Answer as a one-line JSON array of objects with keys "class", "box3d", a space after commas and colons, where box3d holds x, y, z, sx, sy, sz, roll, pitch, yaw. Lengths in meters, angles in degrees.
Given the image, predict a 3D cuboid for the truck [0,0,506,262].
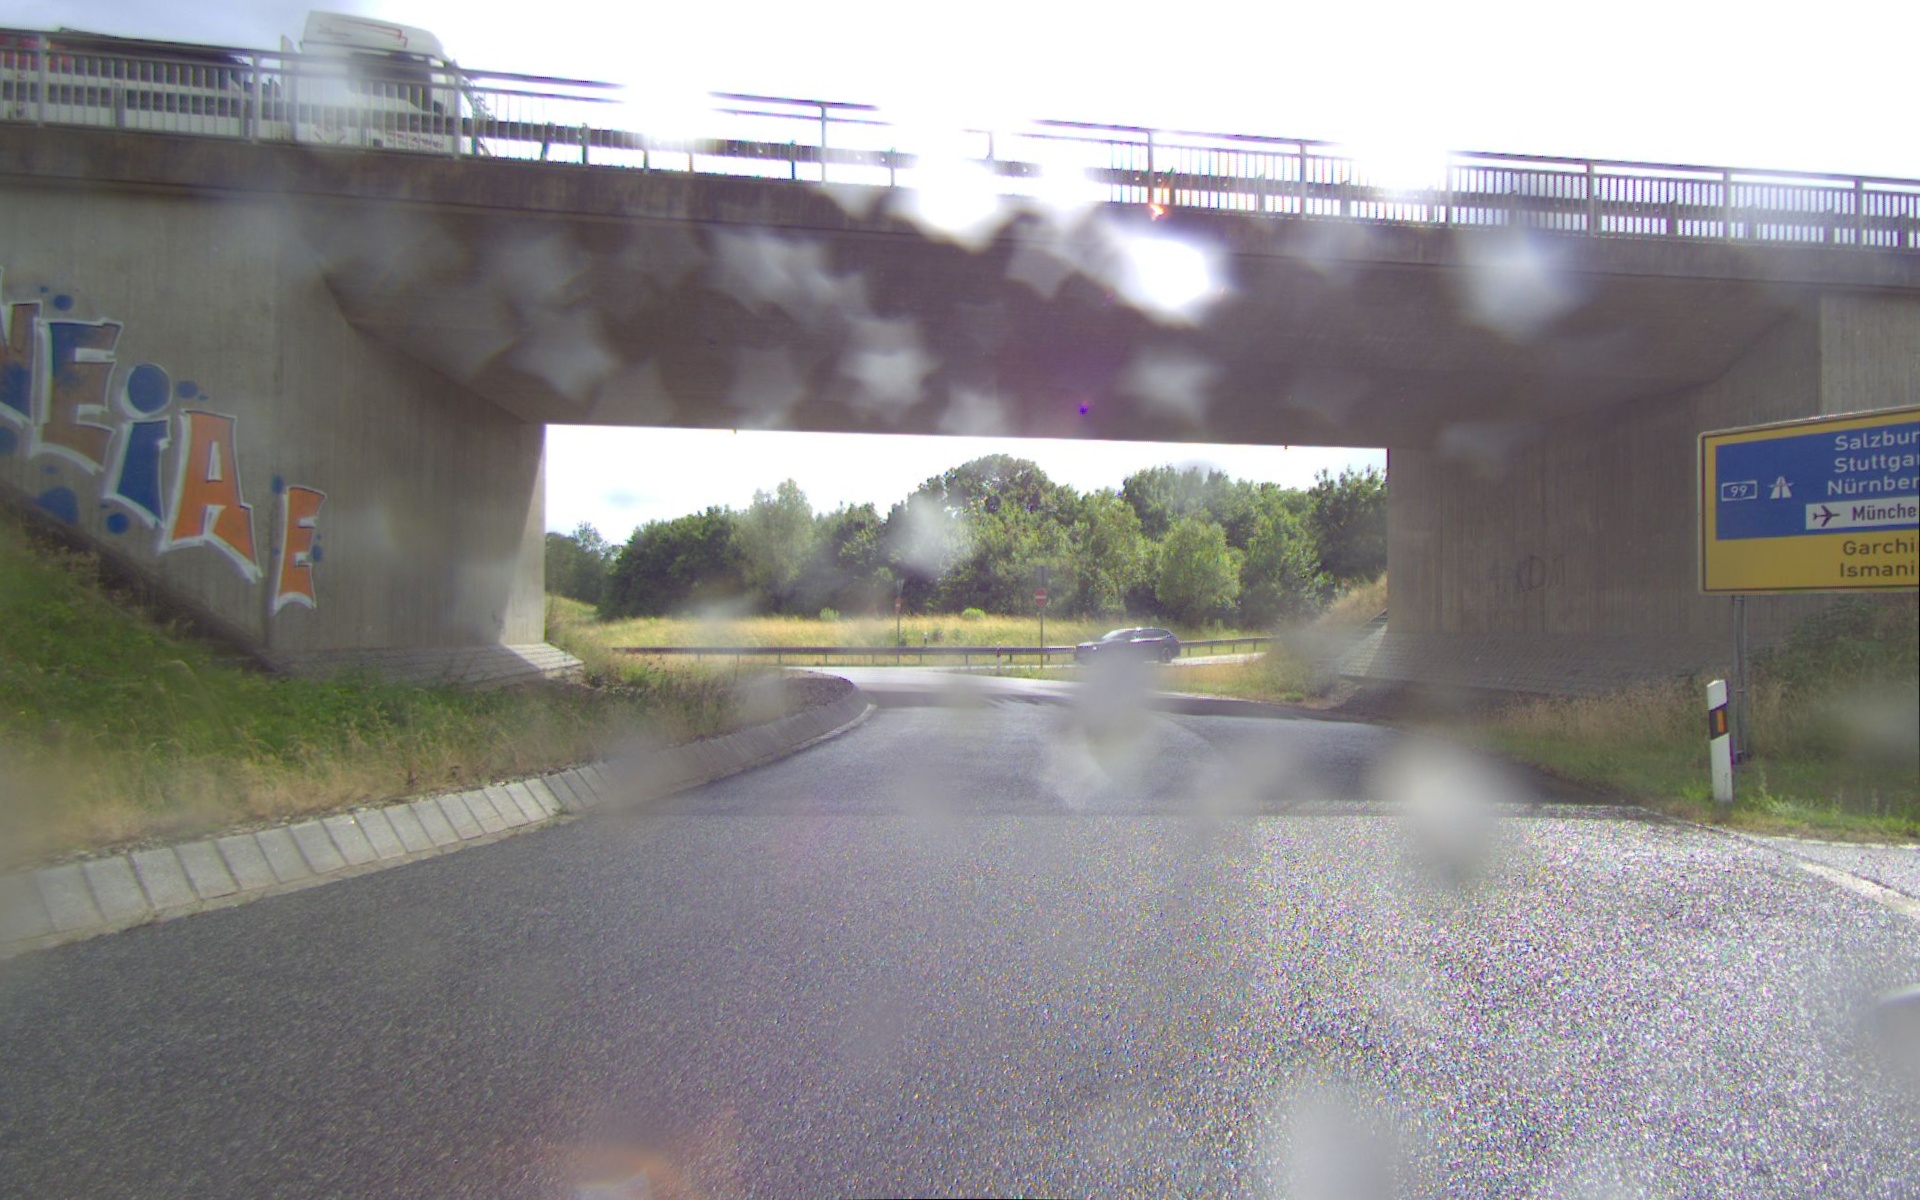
[{"class": "truck", "box3d": [-12.559, -7.195, 14.509, 10.637, 2.912, 2.202, 1, 0, -13]}]
